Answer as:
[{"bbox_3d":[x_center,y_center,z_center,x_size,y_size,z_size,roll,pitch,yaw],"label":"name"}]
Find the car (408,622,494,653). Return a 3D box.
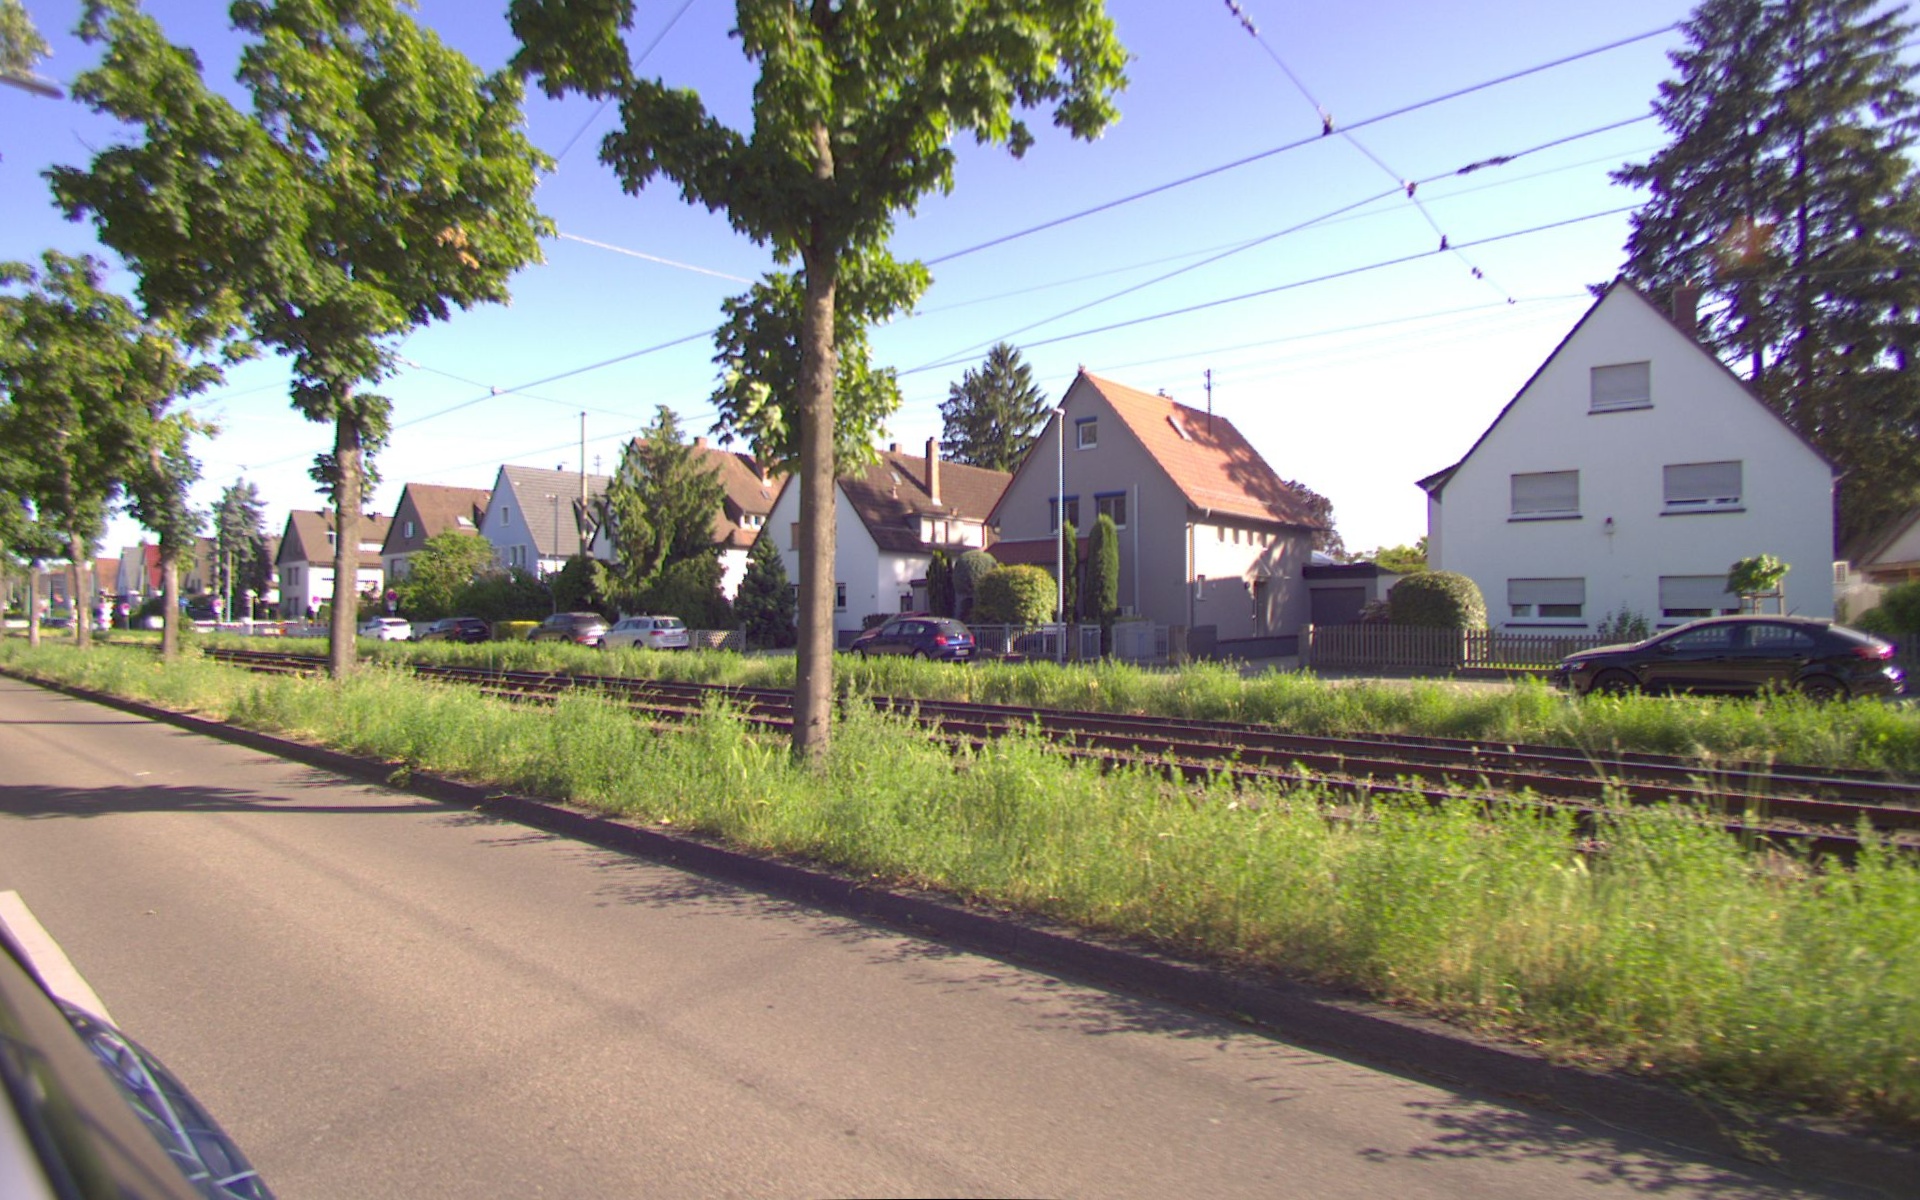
[{"bbox_3d":[-24.571,1.771,48.743,4.980,1.351,1.973,-1,0,41],"label":"car"}]

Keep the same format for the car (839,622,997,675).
[{"bbox_3d":[-1.226,1.309,28.464,4.308,1.382,1.972,-1,-1,42],"label":"car"}]

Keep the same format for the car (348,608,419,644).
[{"bbox_3d":[-31.278,1.408,54.828,4.582,1.877,1.973,-1,-1,41],"label":"car"}]

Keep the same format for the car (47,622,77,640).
[{"bbox_3d":[-87.398,3.011,98.449,3.999,1.697,1.762,-1,-1,42],"label":"car"}]

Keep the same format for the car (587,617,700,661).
[{"bbox_3d":[-11.949,1.420,38.046,4.837,1.483,1.864,-1,0,42],"label":"car"}]

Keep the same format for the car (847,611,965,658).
[{"bbox_3d":[-1.888,1.205,36.732,1.746,1.481,4.433,-1,1,39],"label":"car"}]

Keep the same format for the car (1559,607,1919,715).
[{"bbox_3d":[12.445,0.878,16.411,4.439,1.477,1.887,-1,0,41],"label":"car"}]

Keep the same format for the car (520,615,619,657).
[{"bbox_3d":[-15.932,1.422,41.161,4.534,1.573,1.864,-1,0,41],"label":"car"}]
